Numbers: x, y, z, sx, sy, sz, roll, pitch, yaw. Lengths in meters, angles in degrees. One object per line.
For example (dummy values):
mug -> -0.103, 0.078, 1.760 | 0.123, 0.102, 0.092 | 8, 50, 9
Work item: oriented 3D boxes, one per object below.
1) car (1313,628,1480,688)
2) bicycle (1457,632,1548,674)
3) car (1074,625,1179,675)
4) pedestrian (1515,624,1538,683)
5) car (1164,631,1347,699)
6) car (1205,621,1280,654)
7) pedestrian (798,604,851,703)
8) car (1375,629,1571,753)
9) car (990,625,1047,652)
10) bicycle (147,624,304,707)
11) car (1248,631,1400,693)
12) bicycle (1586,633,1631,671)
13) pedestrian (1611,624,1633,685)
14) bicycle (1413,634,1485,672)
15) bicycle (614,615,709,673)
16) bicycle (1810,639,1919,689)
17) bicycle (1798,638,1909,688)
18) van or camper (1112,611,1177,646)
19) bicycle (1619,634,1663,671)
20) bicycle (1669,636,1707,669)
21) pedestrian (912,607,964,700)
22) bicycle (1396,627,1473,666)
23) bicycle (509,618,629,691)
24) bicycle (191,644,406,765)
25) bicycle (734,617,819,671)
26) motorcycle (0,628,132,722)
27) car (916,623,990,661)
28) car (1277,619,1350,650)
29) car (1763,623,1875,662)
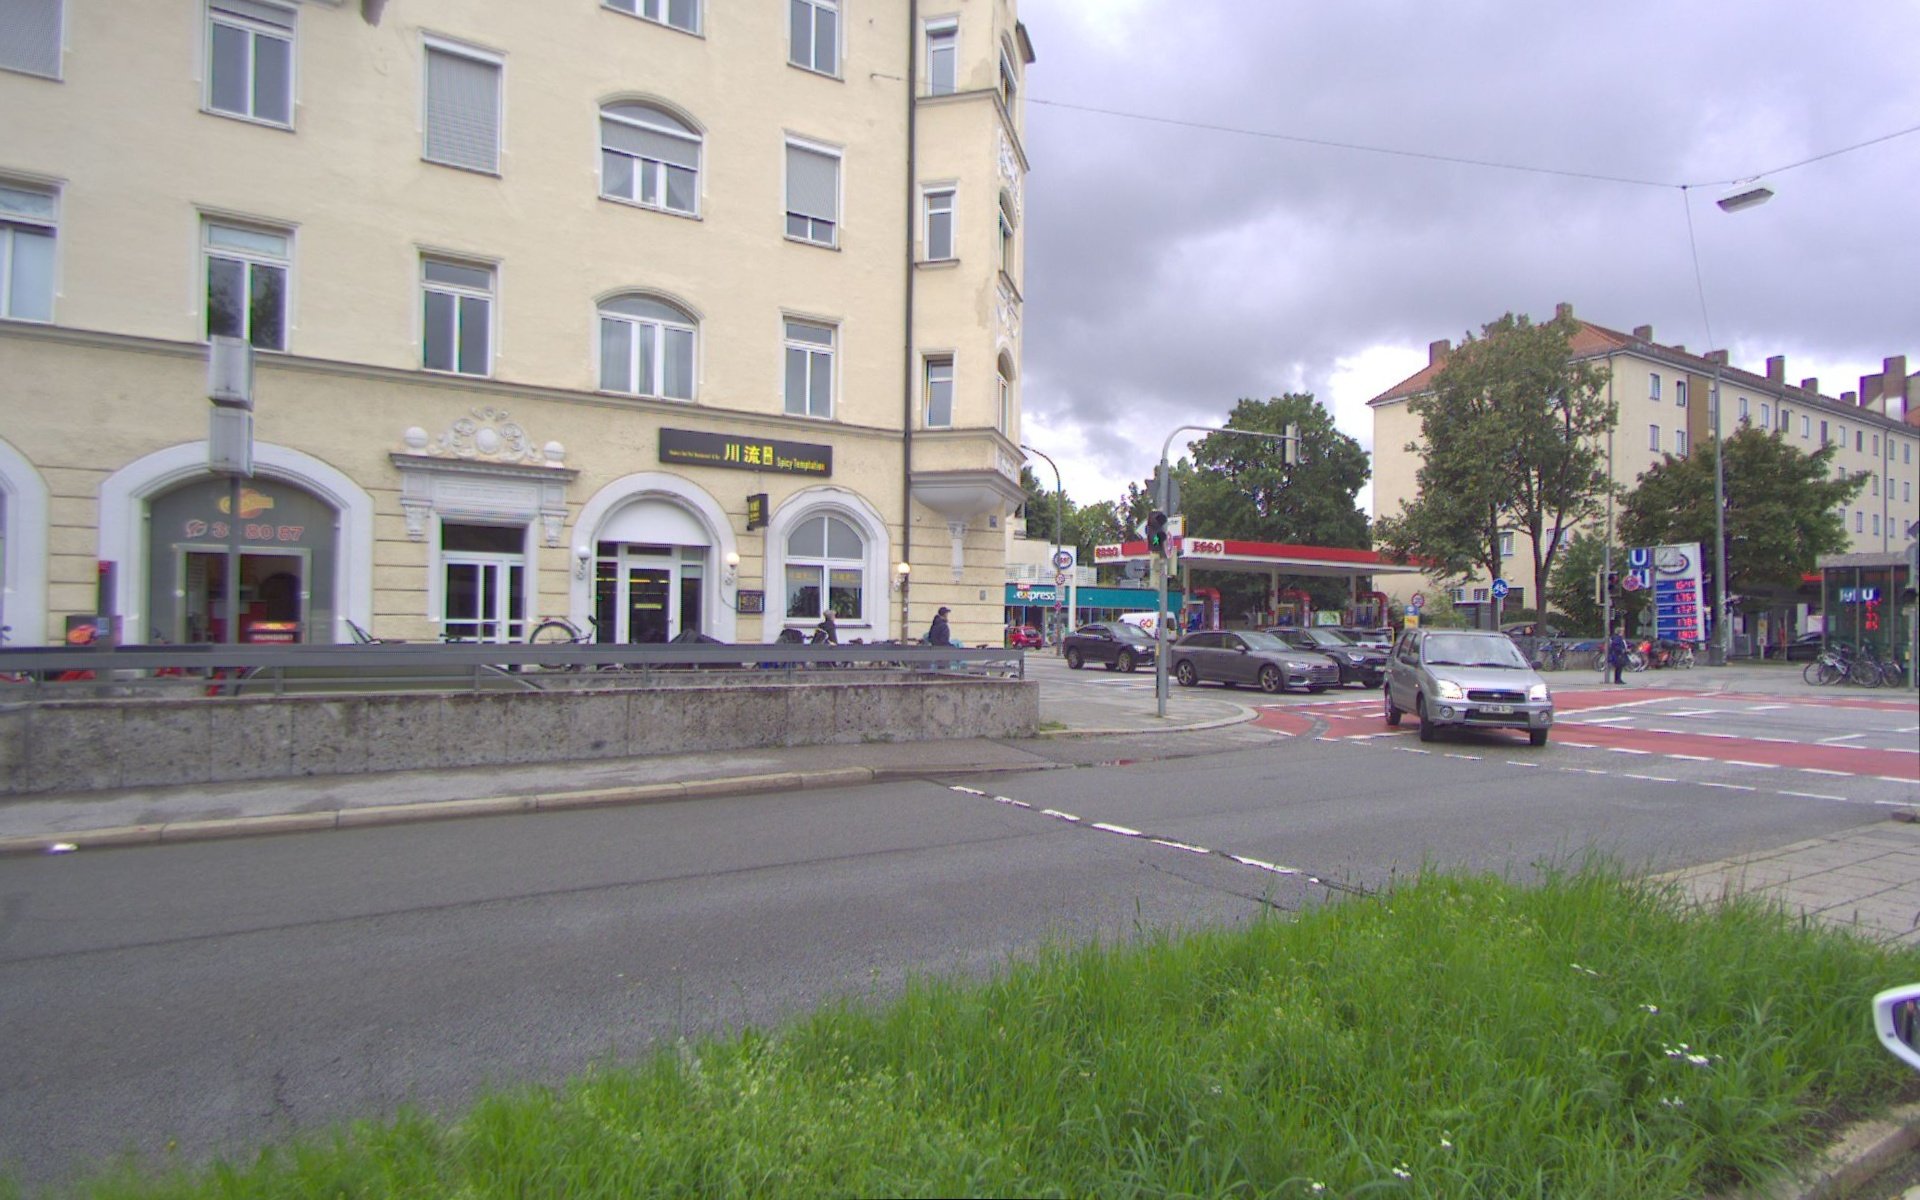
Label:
car -> 12.213, 1.573, 28.357 | 1.676, 1.534, 4.148 | 1, -1, -30
bicycle -> 18.465, 1.782, 34.242 | 2.664, 1.267, 0.792 | 2, 0, 30
car -> 5.455, 1.608, 33.267 | 1.677, 1.534, 3.308 | 1, -1, -32
pedestrian -> 16.789, 1.564, 29.785 | 0.581, 1.717, 0.576 | 0, -1, 29
car -> 7.073, 1.503, 24.470 | 1.646, 1.430, 4.291 | 1, -1, -32
car -> 16.008, 2.091, 57.055 | 1.836, 1.808, 3.968 | 1, -1, -30
pedestrian -> -2.397, 0.932, 17.735 | 0.762, 1.719, 0.539 | 1, -1, -34
car -> 7.323, 1.209, 14.709 | 1.630, 1.537, 3.633 | 0, -1, 11
car -> 3.765, 2.481, 65.320 | 1.848, 1.598, 3.967 | 1, -1, -31
bicycle -> -9.149, 0.802, 12.576 | 1.527, 0.993, 0.470 | 1, -1, -30
car -> 9.335, 1.549, 25.986 | 1.643, 1.430, 3.534 | 1, -1, -27
bicycle -> 22.436, 1.782, 34.725 | 2.167, 1.252, 0.603 | 1, -1, -37
pedestrian -> 18.812, 1.544, 28.551 | 0.527, 1.717, 0.575 | 0, -1, 34
bicycle -> 16.926, 1.810, 34.809 | 0.760, 1.252, 2.161 | 1, -1, -41
bicycle -> -5.252, 0.774, 17.714 | 1.527, 0.993, 0.470 | 1, -1, -30
bicycle -> 25.888, 1.804, 28.778 | 0.685, 1.322, 2.275 | 1, -1, -28
bicycle -> 25.215, 1.760, 28.404 | 0.695, 1.322, 2.262 | 1, -1, -28
van or camper -> 12.569, 1.925, 68.685 | 1.898, 2.354, 4.511 | 1, -1, -32
bicycle -> 23.459, 1.795, 34.572 | 2.167, 1.252, 0.603 | 1, -1, -37
bicycle -> 26.809, 1.921, 36.971 | 1.947, 1.160, 0.603 | 1, -1, -37
pedestrian -> -0.402, 0.999, 18.947 | 0.927, 1.719, 0.593 | 1, -1, 1
bicycle -> 16.983, 1.644, 36.008 | 0.785, 1.267, 2.374 | 2, 0, -40
bicycle -> -5.563, 0.761, 14.324 | 1.527, 0.993, 0.470 | 1, -1, -30
bicycle -> -6.724, 1.027, 10.273 | 1.798, 1.130, 0.392 | 1, -1, -39
bicycle -> -3.499, 0.838, 19.179 | 1.527, 0.993, 0.470 | 1, -1, -30
motorcycle -> -12.048, 0.968, 13.229 | 1.947, 1.137, 0.610 | 1, -1, 10
car -> -0.344, 1.780, 43.191 | 1.677, 1.534, 3.308 | 1, -1, -32
car -> 21.432, 2.097, 61.101 | 1.836, 1.808, 3.968 | 1, -1, -30
car -> 43.303, 2.125, 50.702 | 1.860, 1.862, 3.965 | 1, -1, -32
